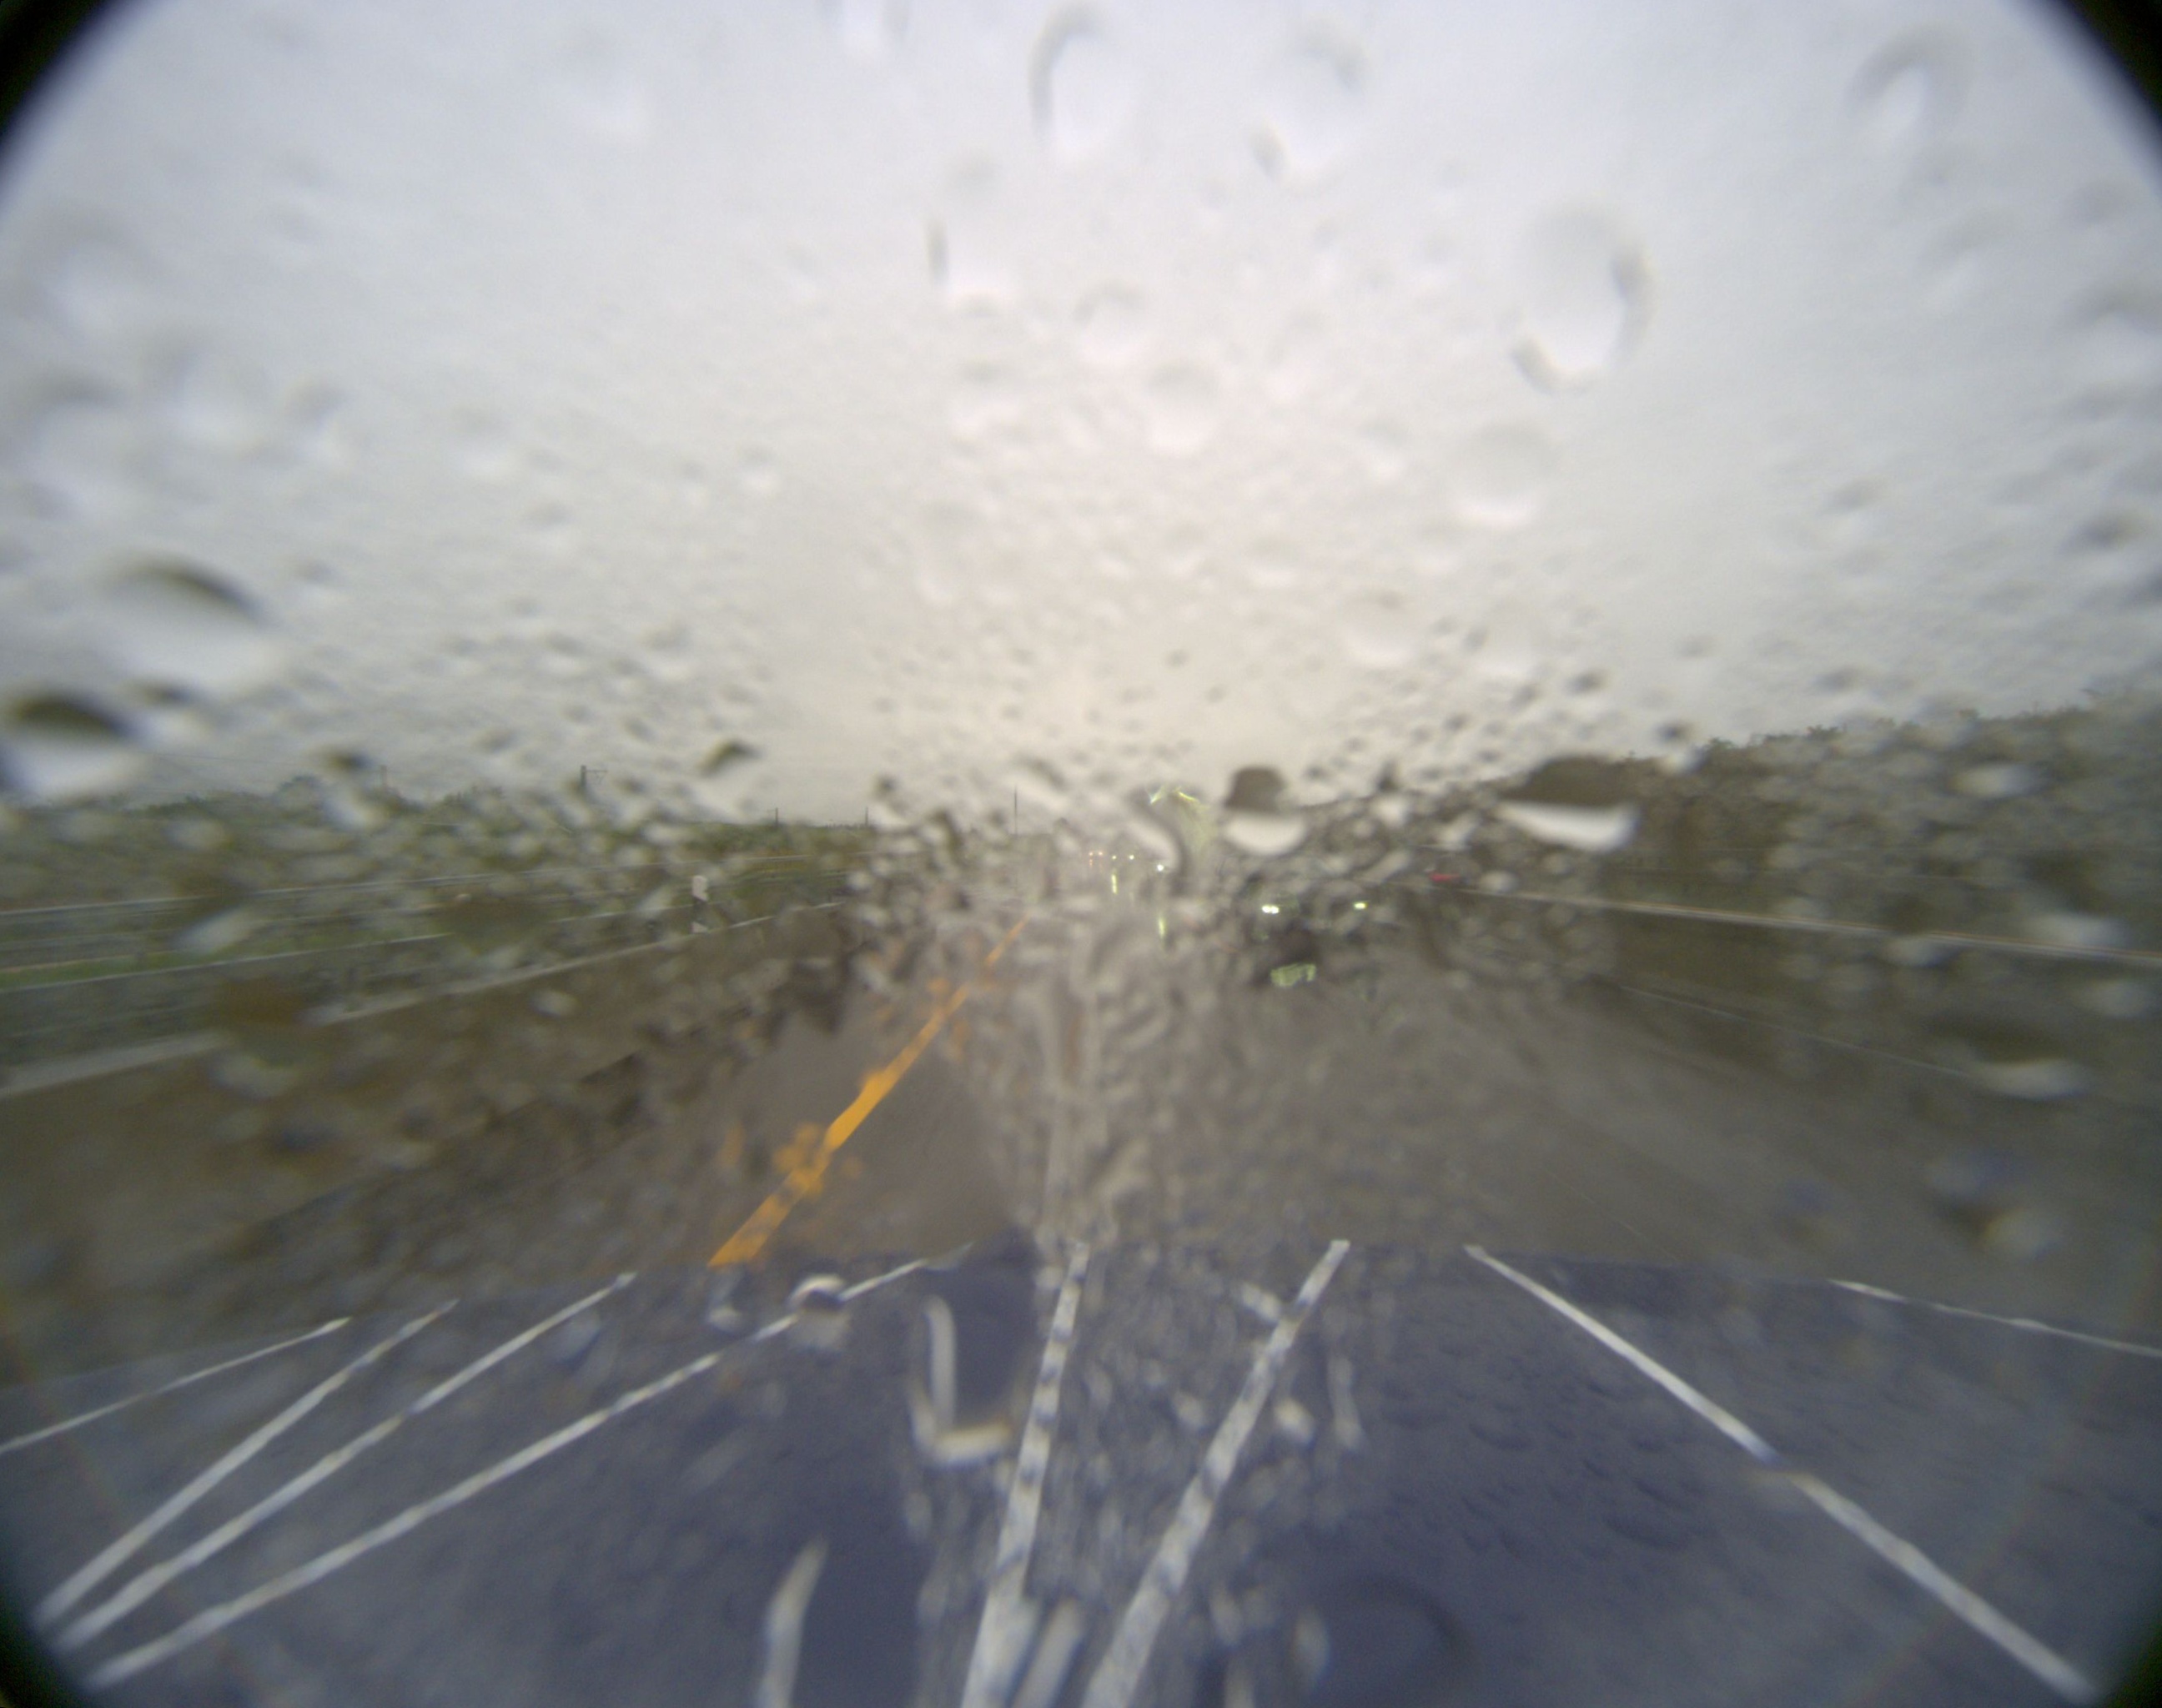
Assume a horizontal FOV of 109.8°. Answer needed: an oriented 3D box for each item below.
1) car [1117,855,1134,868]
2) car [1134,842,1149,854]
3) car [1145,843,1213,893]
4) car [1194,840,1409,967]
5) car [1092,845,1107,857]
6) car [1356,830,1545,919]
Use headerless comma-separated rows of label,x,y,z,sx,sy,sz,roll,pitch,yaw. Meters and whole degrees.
car,3.797,0.641,65.699,1.335,1.105,3.199,1,0,1
car,8.021,-0.829,101.827,1.765,1.519,4.950,-2,1,2
car,3.545,0.453,28.159,1.971,1.670,3.999,-2,1,0
car,3.089,0.579,11.798,1.944,1.519,4.795,-1,1,0
car,2.677,-0.463,111.577,1.998,1.762,3.999,-2,1,0
car,7.296,0.325,15.496,1.897,1.476,3.999,-3,1,1
